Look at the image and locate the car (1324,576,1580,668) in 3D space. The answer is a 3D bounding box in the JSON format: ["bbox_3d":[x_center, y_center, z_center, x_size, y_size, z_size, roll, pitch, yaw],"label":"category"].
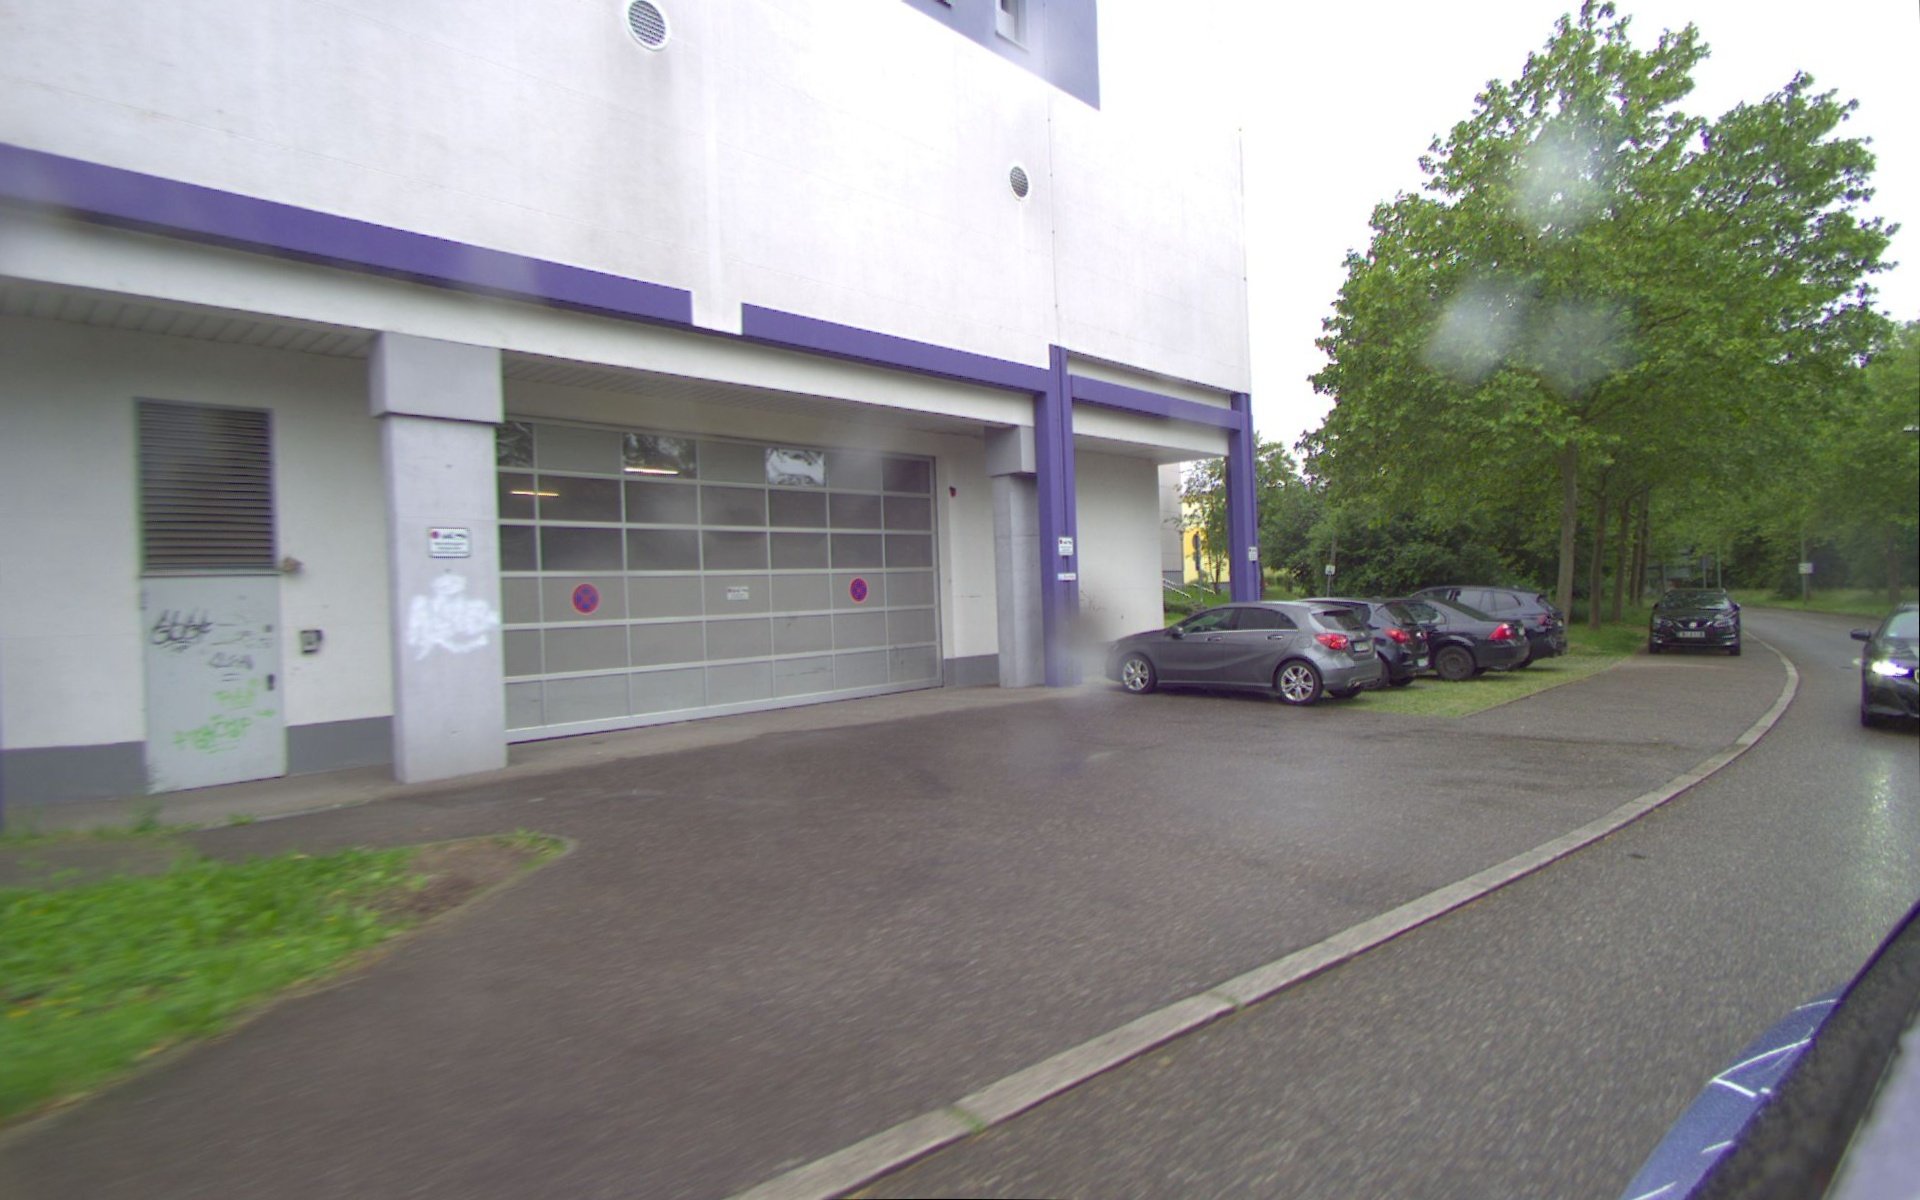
[{"bbox_3d":[10.024,0.443,20.813,4.462,1.702,1.742,-1,-1,39],"label":"car"}]

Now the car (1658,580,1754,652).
[{"bbox_3d":[18.656,0.324,25.306,1.797,1.622,4.313,0,1,37],"label":"car"}]

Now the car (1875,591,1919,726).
[{"bbox_3d":[12.883,0.648,12.587,4.819,1.513,1.840,0,-1,-43],"label":"car"}]

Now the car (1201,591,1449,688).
[{"bbox_3d":[6.152,0.626,17.250,3.612,1.471,1.695,-1,-1,42],"label":"car"}]

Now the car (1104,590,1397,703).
[{"bbox_3d":[4.312,0.640,15.403,3.938,1.471,1.694,-1,0,44],"label":"car"}]

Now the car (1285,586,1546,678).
[{"bbox_3d":[8.373,0.564,18.776,4.098,1.497,1.698,-1,1,39],"label":"car"}]

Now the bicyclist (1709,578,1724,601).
[{"bbox_3d":[52.780,-0.731,70.621,0.692,1.516,0.792,-3,-1,29],"label":"bicyclist"}]

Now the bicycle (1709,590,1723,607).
[{"bbox_3d":[52.819,-0.129,70.695,0.449,1.148,1.815,-3,-1,28],"label":"bicycle"}]
